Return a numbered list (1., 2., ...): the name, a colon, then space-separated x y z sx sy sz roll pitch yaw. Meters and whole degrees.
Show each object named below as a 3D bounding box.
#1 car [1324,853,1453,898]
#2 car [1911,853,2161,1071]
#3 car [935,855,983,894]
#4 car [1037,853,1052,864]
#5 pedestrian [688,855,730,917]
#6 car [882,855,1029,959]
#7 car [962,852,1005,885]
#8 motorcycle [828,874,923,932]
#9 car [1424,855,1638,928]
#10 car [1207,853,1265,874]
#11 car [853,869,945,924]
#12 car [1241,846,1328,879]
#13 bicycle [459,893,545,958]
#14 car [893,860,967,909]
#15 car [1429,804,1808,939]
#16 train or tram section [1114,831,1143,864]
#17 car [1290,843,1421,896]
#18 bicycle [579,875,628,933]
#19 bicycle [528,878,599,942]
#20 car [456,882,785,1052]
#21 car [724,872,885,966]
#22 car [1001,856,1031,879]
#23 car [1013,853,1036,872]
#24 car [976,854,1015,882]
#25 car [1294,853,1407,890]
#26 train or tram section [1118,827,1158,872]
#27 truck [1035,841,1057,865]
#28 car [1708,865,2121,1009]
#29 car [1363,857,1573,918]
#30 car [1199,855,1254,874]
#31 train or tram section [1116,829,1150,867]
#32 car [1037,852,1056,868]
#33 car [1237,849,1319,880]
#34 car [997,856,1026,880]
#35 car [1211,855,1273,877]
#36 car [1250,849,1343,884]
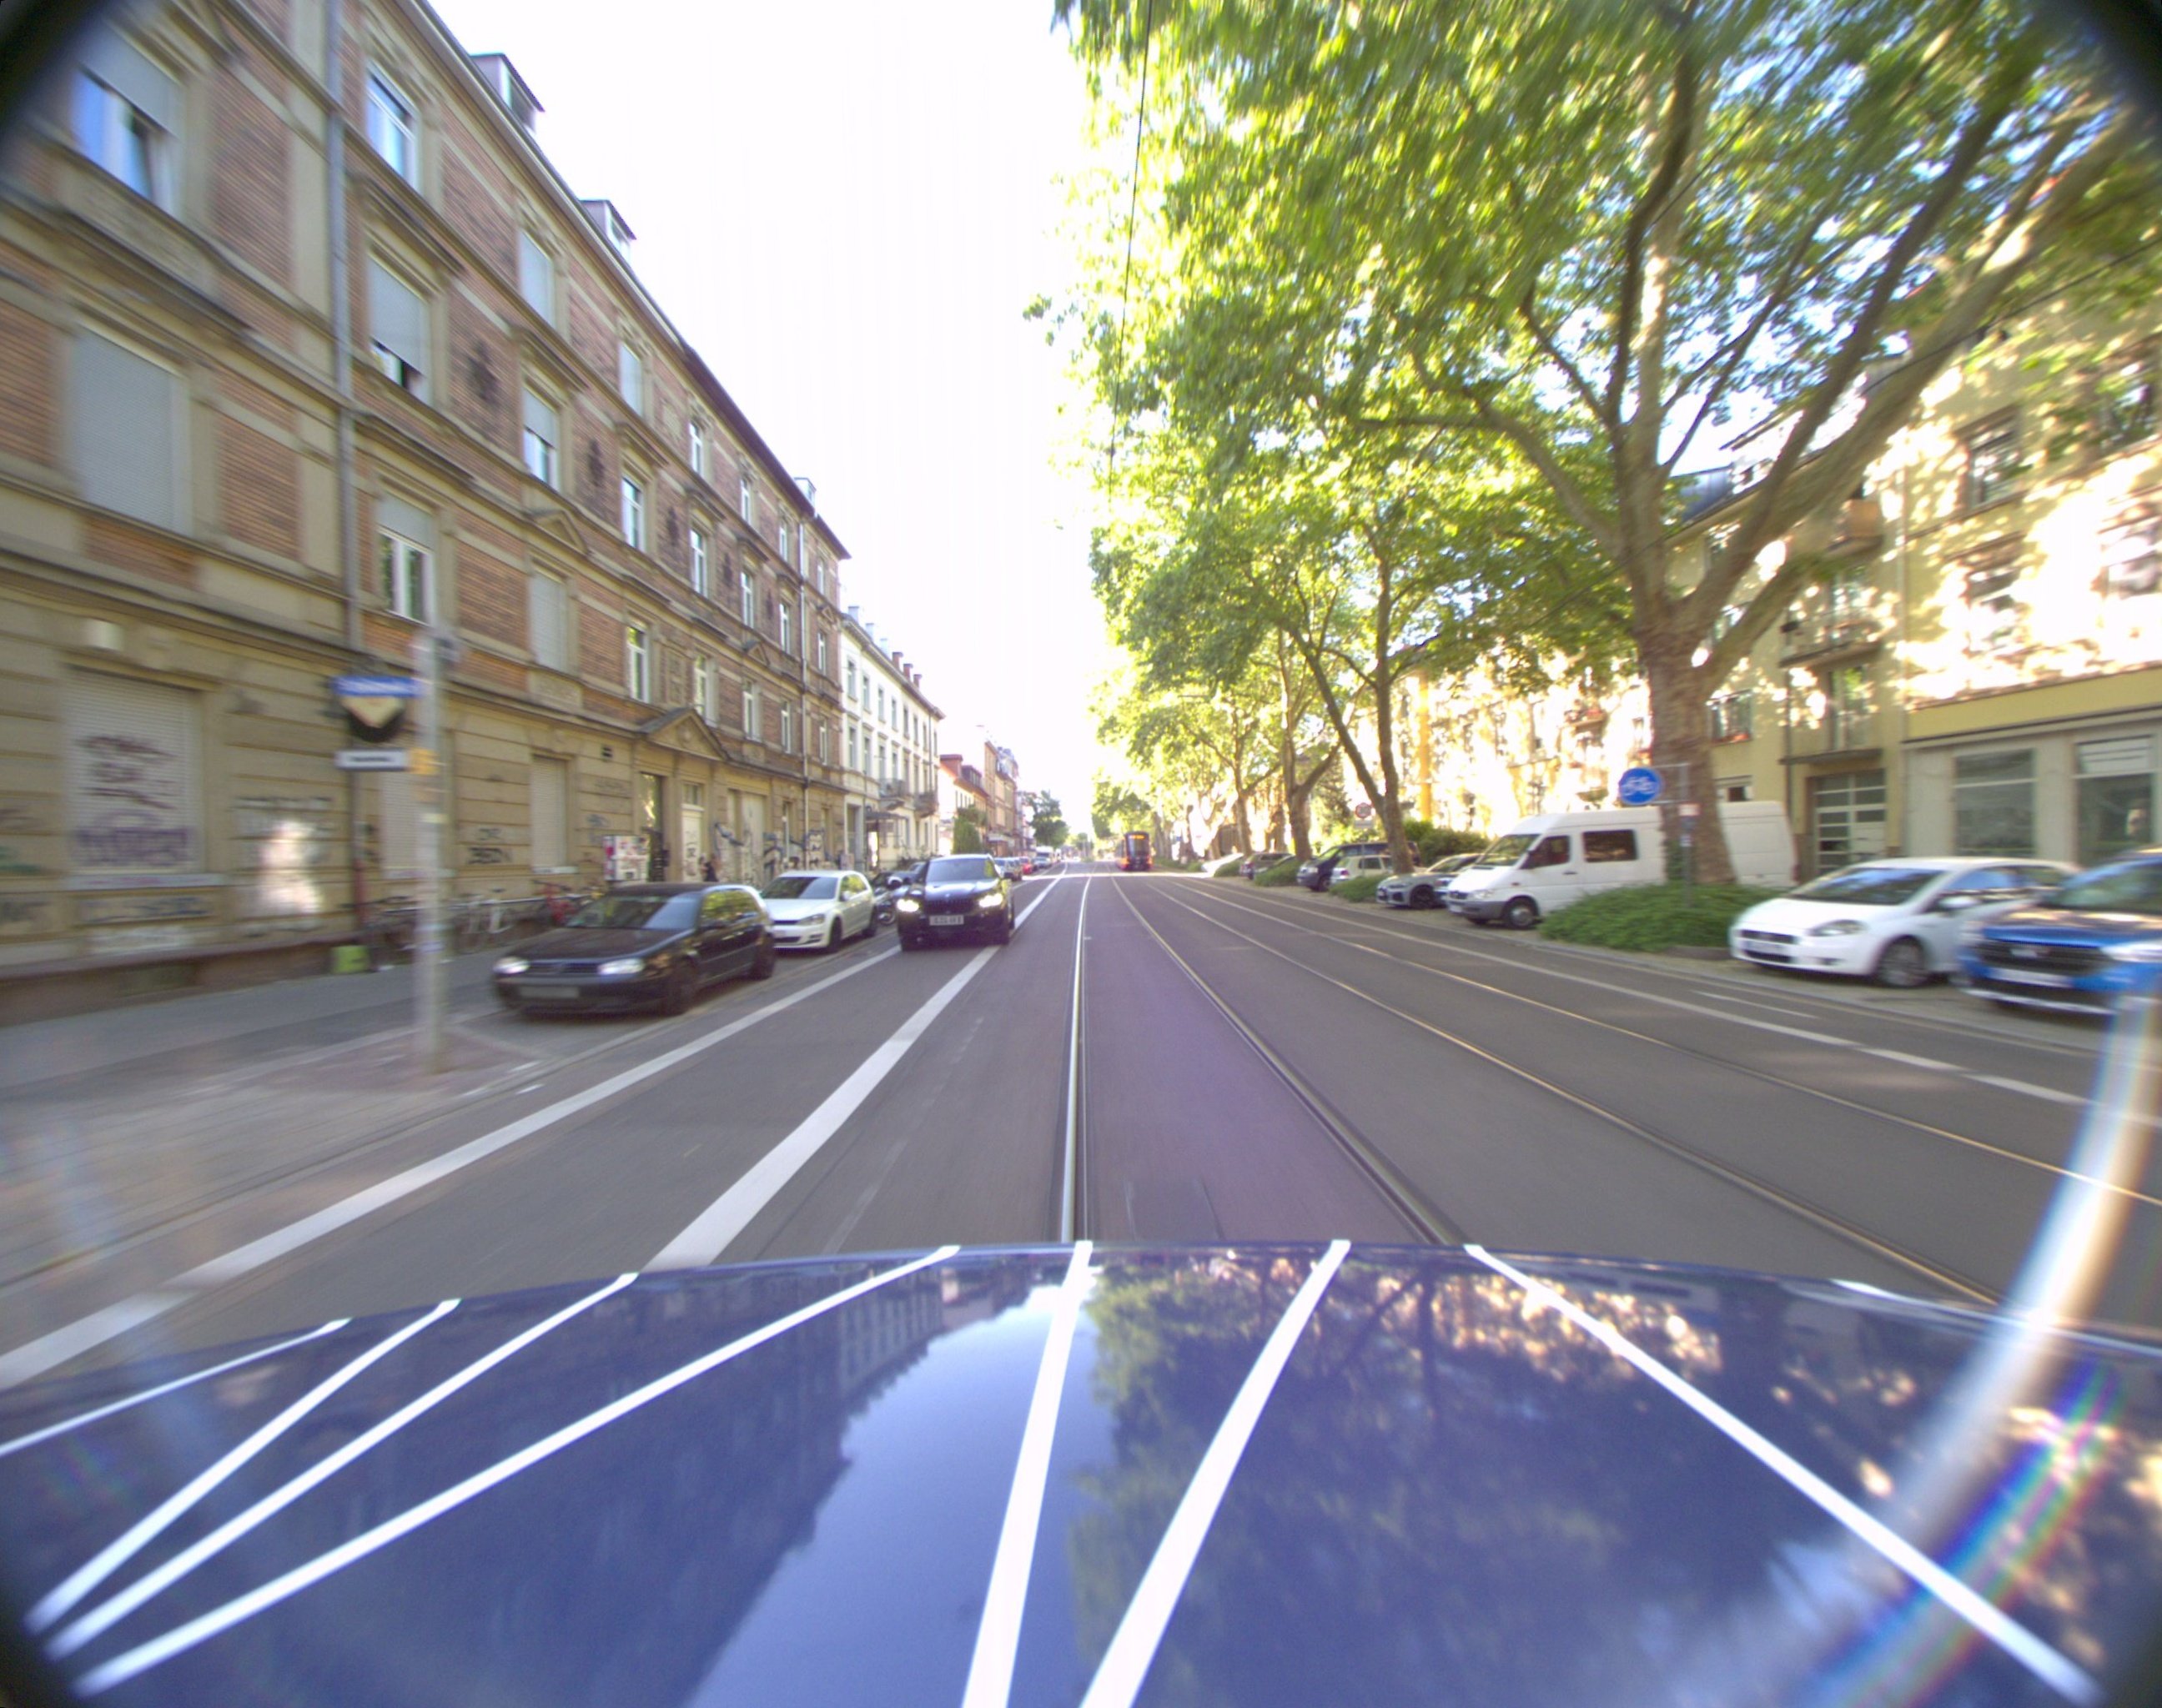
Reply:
1. car: 11.572 0.797 28.803 4.068 1.437 1.869 -3 0 1
2. car: 10.785 0.852 7.057 4.331 1.702 1.816 -1 1 -3
3. car: -5.064 0.815 31.799 1.514 1.534 2.820 1 1 1
4. car: -4.649 0.544 96.797 1.702 1.324 3.686 0 1 1
5. pedestrian: -10.139 0.864 20.744 0.716 1.647 0.766 -1 1 -1
6. car: -2.298 0.935 15.207 1.949 1.694 4.631 -2 -1 2
7. car: -5.014 0.717 39.556 1.635 1.497 3.906 3 1 0
8. motorcycle: -5.001 1.176 18.496 2.143 1.281 0.642 -1 1 -21
9. car: 11.052 0.884 18.860 4.155 1.489 1.904 -3 1 -1
10. car: 11.510 0.703 56.527 3.998 1.422 1.601 -1 1 -3
11. car: -4.961 1.109 21.190 1.653 1.265 3.724 1 1 0
12. car: 11.469 0.475 43.077 4.365 1.603 2.000 -3 0 1
13. bicycle: -10.099 1.225 13.305 0.379 0.995 1.372 -1 1 2
14. car: -4.998 0.958 25.605 1.610 1.444 3.741 1 1 2
15. car: 11.294 0.363 16.335 6.618 2.393 2.000 -3 0 1
16. train or tram section: 5.630 -0.839 91.966 2.944 3.598 12.409 -3 1 2
17. car: 11.254 0.636 31.341 4.639 1.896 1.922 -3 0 -1
18. bicycle: -10.188 1.047 16.250 0.274 1.147 1.139 -1 1 2
19. bicycle: -10.154 1.071 14.954 0.379 1.147 1.372 -1 1 2
20. car: -5.198 1.163 9.305 1.653 1.412 4.058 1 1 -2
21. car: -5.151 1.142 14.723 1.606 1.412 4.012 1 1 0
22. car: -4.711 0.933 55.339 1.729 1.559 3.686 0 1 1
23. car: -4.924 0.718 66.552 1.702 1.559 3.686 0 1 1
24. car: -5.141 0.801 45.918 1.729 1.497 3.907 3 1 1
25. car: 11.878 0.759 33.635 4.365 1.400 1.658 -3 0 1
26. train or tram section: 5.022 -0.434 68.963 2.944 3.598 11.061 -3 1 2
27. truck: -5.090 -0.195 111.614 2.842 3.145 7.291 -3 1 0
28. car: 10.419 0.945 9.640 3.781 1.509 1.746 -1 1 -9
29. car: 10.964 0.913 21.789 4.943 1.437 2.000 -3 0 1
30. car: 11.397 0.801 59.473 3.998 1.367 1.411 -1 1 -3
31. train or tram section: 5.313 -0.650 80.129 2.944 3.598 11.258 -3 1 2
32. car: -3.519 0.611 77.955 1.702 1.559 3.686 0 1 1
33. car: 11.752 0.629 45.612 4.365 1.603 2.000 -3 0 1
34. car: -4.641 0.893 50.997 1.542 1.497 3.359 0 1 1
35. car: 11.388 0.860 53.832 3.998 1.422 1.528 -1 1 -3
36. car: 11.490 0.643 40.669 4.365 1.603 2.000 -3 0 1
